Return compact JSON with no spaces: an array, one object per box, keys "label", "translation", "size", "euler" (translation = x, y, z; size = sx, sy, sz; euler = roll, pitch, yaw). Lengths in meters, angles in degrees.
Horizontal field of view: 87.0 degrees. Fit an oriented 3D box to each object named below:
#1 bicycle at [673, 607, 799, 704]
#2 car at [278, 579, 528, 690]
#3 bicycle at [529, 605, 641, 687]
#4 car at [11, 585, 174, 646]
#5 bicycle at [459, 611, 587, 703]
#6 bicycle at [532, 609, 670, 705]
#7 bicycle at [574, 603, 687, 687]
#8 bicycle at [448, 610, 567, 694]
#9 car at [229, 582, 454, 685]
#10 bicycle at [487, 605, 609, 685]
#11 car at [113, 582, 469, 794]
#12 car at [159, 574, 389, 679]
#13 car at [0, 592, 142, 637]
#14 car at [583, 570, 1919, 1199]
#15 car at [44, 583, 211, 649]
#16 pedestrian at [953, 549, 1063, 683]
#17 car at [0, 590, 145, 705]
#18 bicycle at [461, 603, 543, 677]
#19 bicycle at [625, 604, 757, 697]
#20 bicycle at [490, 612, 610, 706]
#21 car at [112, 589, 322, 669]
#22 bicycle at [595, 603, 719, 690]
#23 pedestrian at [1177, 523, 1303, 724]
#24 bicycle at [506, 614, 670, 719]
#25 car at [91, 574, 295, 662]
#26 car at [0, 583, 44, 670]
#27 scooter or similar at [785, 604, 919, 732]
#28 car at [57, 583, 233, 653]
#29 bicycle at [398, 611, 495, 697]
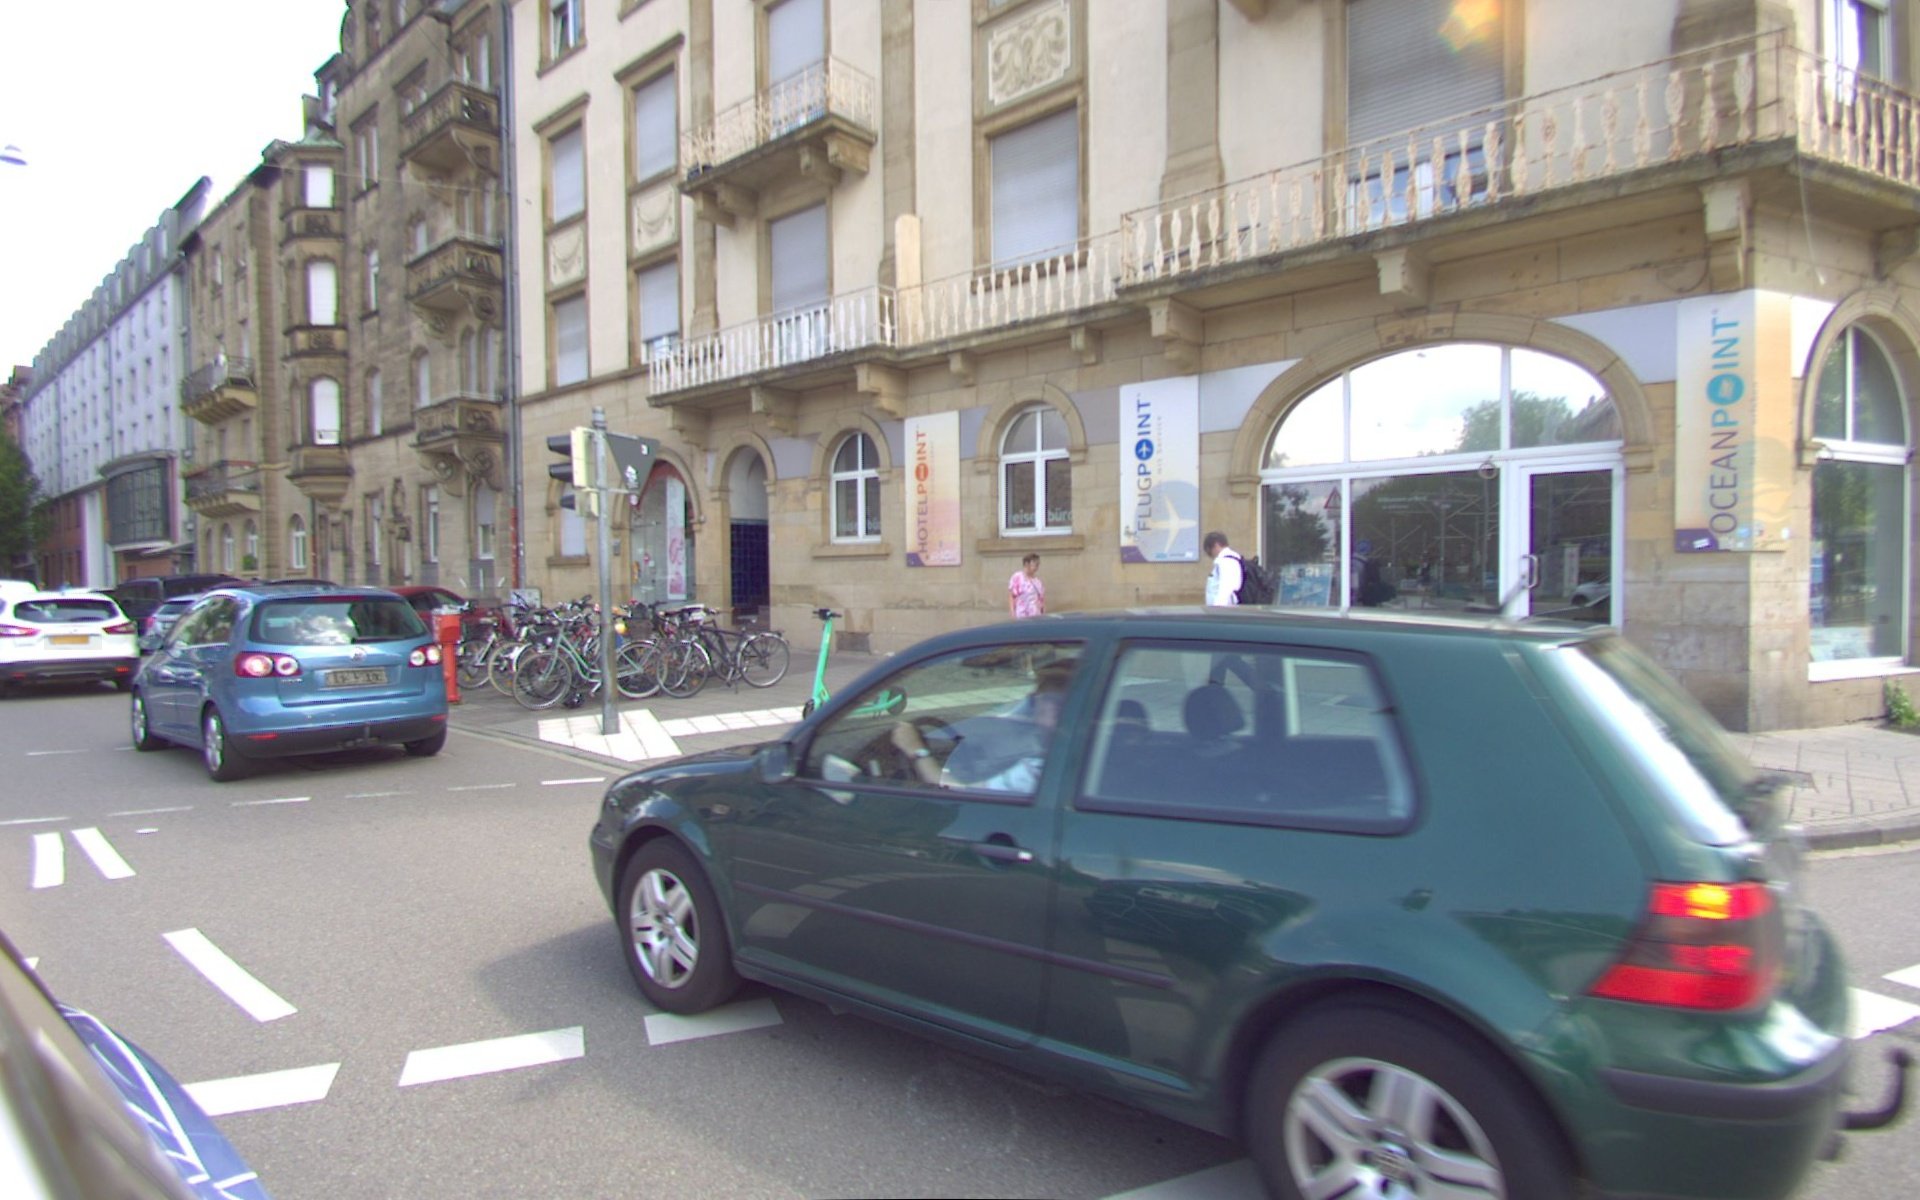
[{"label":"bicycle","translation":[-2.766,0.661,12.570],"size":[1.420,1.059,0.481],"euler":[-4,3,-39]},{"label":"car","translation":[-9.178,0.475,17.103],"size":[1.789,1.467,3.997],"euler":[-3,3,3]},{"label":"bicycle","translation":[-5.459,0.645,14.801],"size":[0.462,1.059,1.465],"euler":[-1,3,38]},{"label":"car","translation":[-28.081,0.455,32.942],"size":[1.708,1.597,3.953],"euler":[-3,3,2]},{"label":"bicycle","translation":[-5.791,0.725,13.485],"size":[0.462,1.059,1.464],"euler":[0,3,41]},{"label":"bicycle","translation":[-4.585,0.703,12.981],"size":[1.558,1.059,0.481],"euler":[-4,3,-41]},{"label":"bicycle","translation":[-4.719,0.624,14.553],"size":[0.462,1.059,1.464],"euler":[0,3,42]},{"label":"bicycle","translation":[-6.424,0.706,14.422],"size":[0.462,1.060,1.465],"euler":[-1,2,38]},{"label":"car","translation":[-11.361,0.523,18.958],"size":[1.707,1.467,3.955],"euler":[-4,3,0]},{"label":"bicycle","translation":[-6.279,0.657,15.491],"size":[0.557,1.059,1.611],"euler":[0,3,40]},{"label":"car","translation":[-6.301,0.632,9.367],"size":[3.929,1.552,1.729],"euler":[0,1,41]},{"label":"car","translation":[-13.651,0.445,20.471],"size":[1.778,1.702,3.953],"euler":[-3,3,2]},{"label":"car","translation":[-32.405,0.481,37.010],"size":[1.708,1.485,3.952],"euler":[-1,1,2]},{"label":"car","translation":[0.577,0.694,3.248],"size":[3.815,1.444,1.696],"euler":[0,-1,40]},{"label":"car","translation":[-25.416,0.421,31.099],"size":[1.708,1.597,3.954],"euler":[-3,4,2]},{"label":"pedestrian","translation":[0.628,0.183,13.157],"size":[0.996,1.606,0.931],"euler":[0,5,42]},{"label":"car","translation":[-14.427,0.689,15.953],"size":[4.017,1.594,1.752],"euler":[-1,-1,40]},{"label":"bicycle","translation":[-7.607,0.635,16.899],"size":[0.549,1.059,1.906],"euler":[-2,2,-3]},{"label":"bicycle","translation":[-3.510,0.634,13.305],"size":[1.589,1.059,0.481],"euler":[-4,3,-41]},{"label":"bicycle","translation":[-5.332,0.738,13.225],"size":[0.417,1.059,1.355],"euler":[-1,4,39]},{"label":"car","translation":[-16.916,0.599,23.316],"size":[1.709,1.439,3.951],"euler":[-3,3,3]},{"label":"bicycle","translation":[-4.193,0.622,14.079],"size":[1.558,1.059,0.481],"euler":[-4,3,-41]},{"label":"pedestrian","translation":[2.772,0.184,10.019],"size":[0.905,1.873,0.794],"euler":[4,4,41]},{"label":"bicycle","translation":[-4.391,0.753,12.003],"size":[1.707,1.059,0.532],"euler":[-4,3,-33]},{"label":"car","translation":[-18.926,0.365,25.220],"size":[1.711,1.881,3.946],"euler":[-2,3,7]},{"label":"car","translation":[-21.569,0.578,22.112],"size":[4.281,1.789,1.793],"euler":[-1,0,41]},{"label":"scooter or similar","translation":[-1.095,0.665,10.322],"size":[1.232,1.154,0.482],"euler":[-4,3,-31]},{"label":"car","translation":[-23.279,0.447,29.126],"size":[1.708,1.597,3.953],"euler":[-2,4,2]},{"label":"bicycle","translation":[-7.413,0.742,14.702],"size":[0.549,1.059,1.815],"euler":[-2,2,-4]}]
